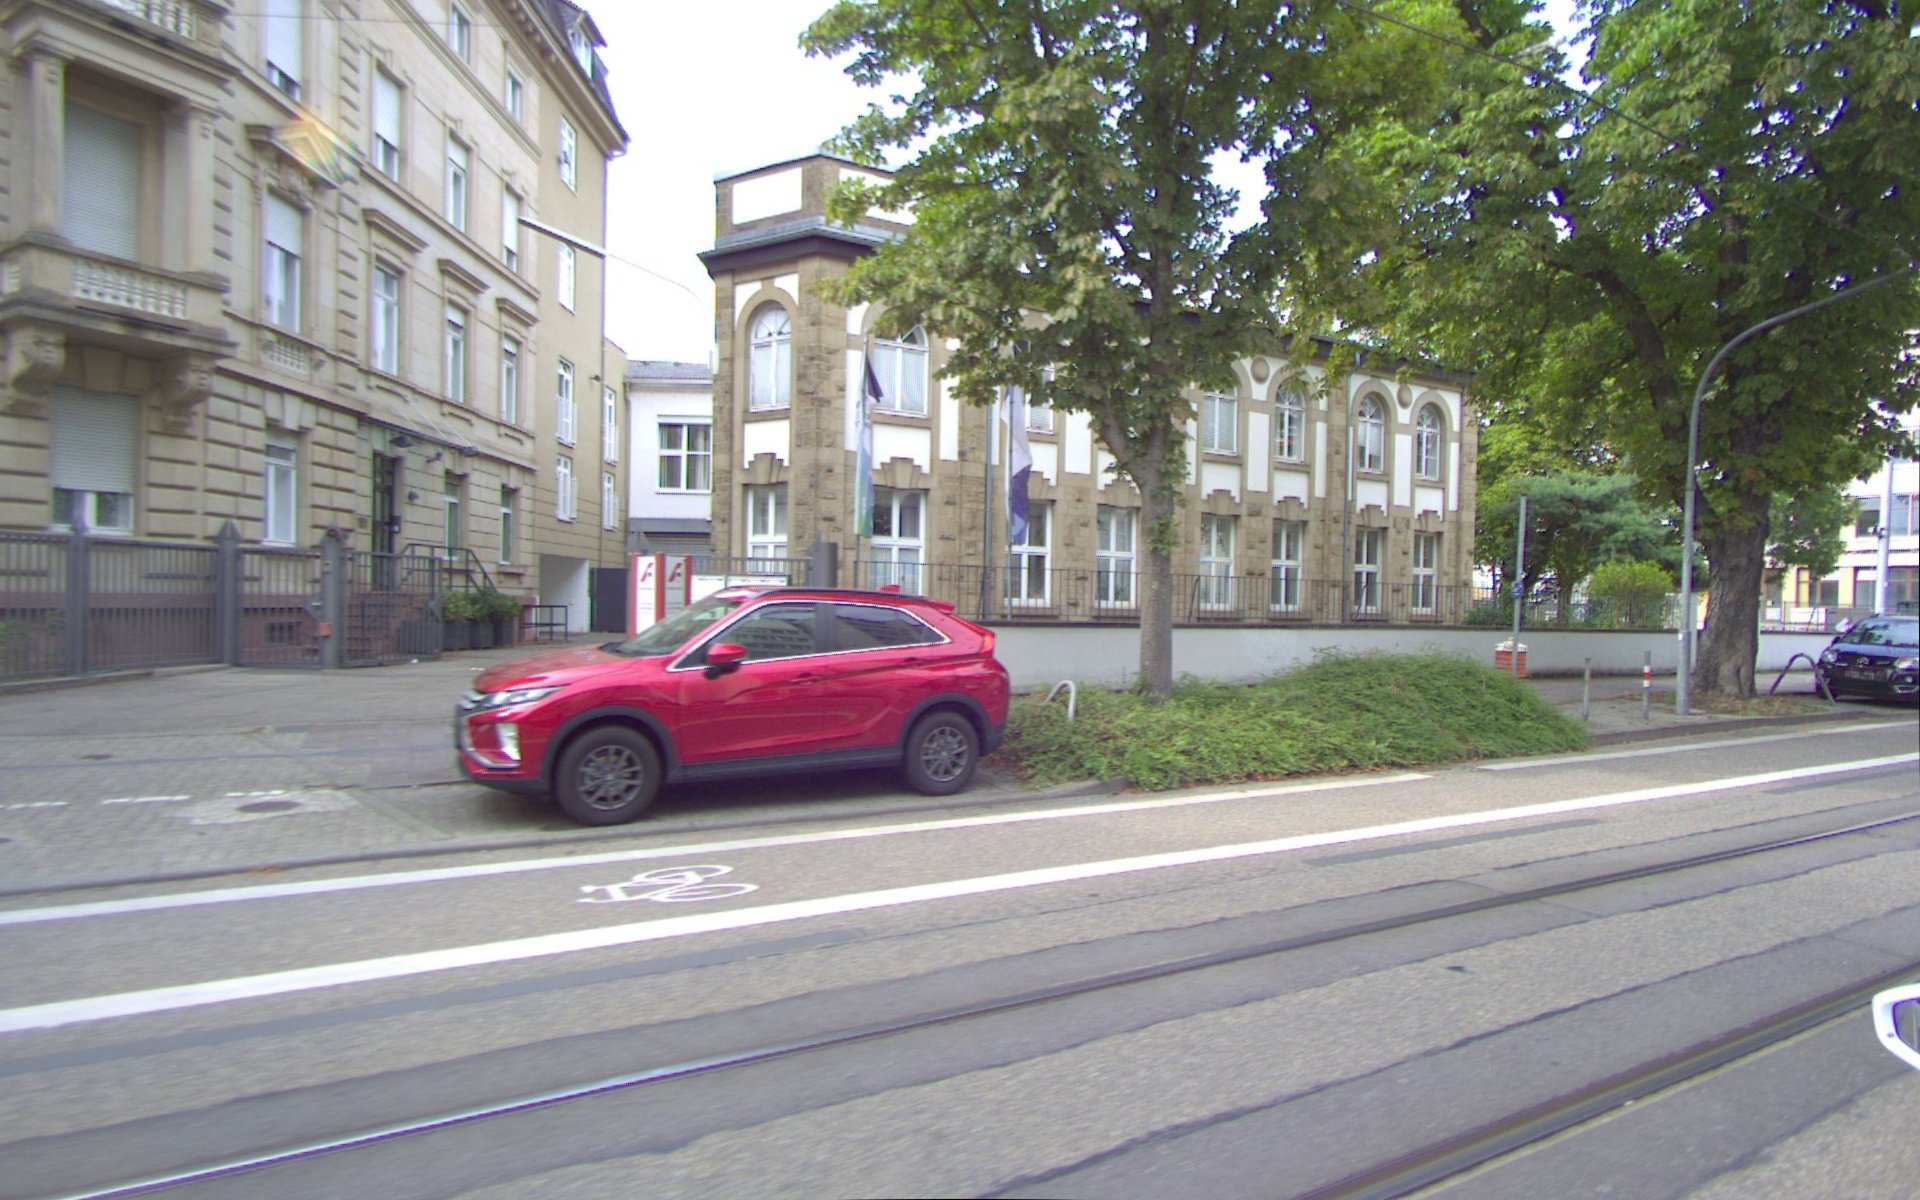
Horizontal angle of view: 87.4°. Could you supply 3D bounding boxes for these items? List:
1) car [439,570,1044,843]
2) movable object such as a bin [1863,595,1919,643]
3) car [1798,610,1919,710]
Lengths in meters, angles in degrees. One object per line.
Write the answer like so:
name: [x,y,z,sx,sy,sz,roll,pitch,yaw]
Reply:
car: [-1.670,0.687,8.177,4.489,1.677,1.713,1,2,-30]
movable object such as a bin: [43.327,0.866,46.266,1.935,2.095,1.979,1,1,-27]
car: [17.917,1.078,19.079,4.004,1.669,1.747,1,1,-30]
